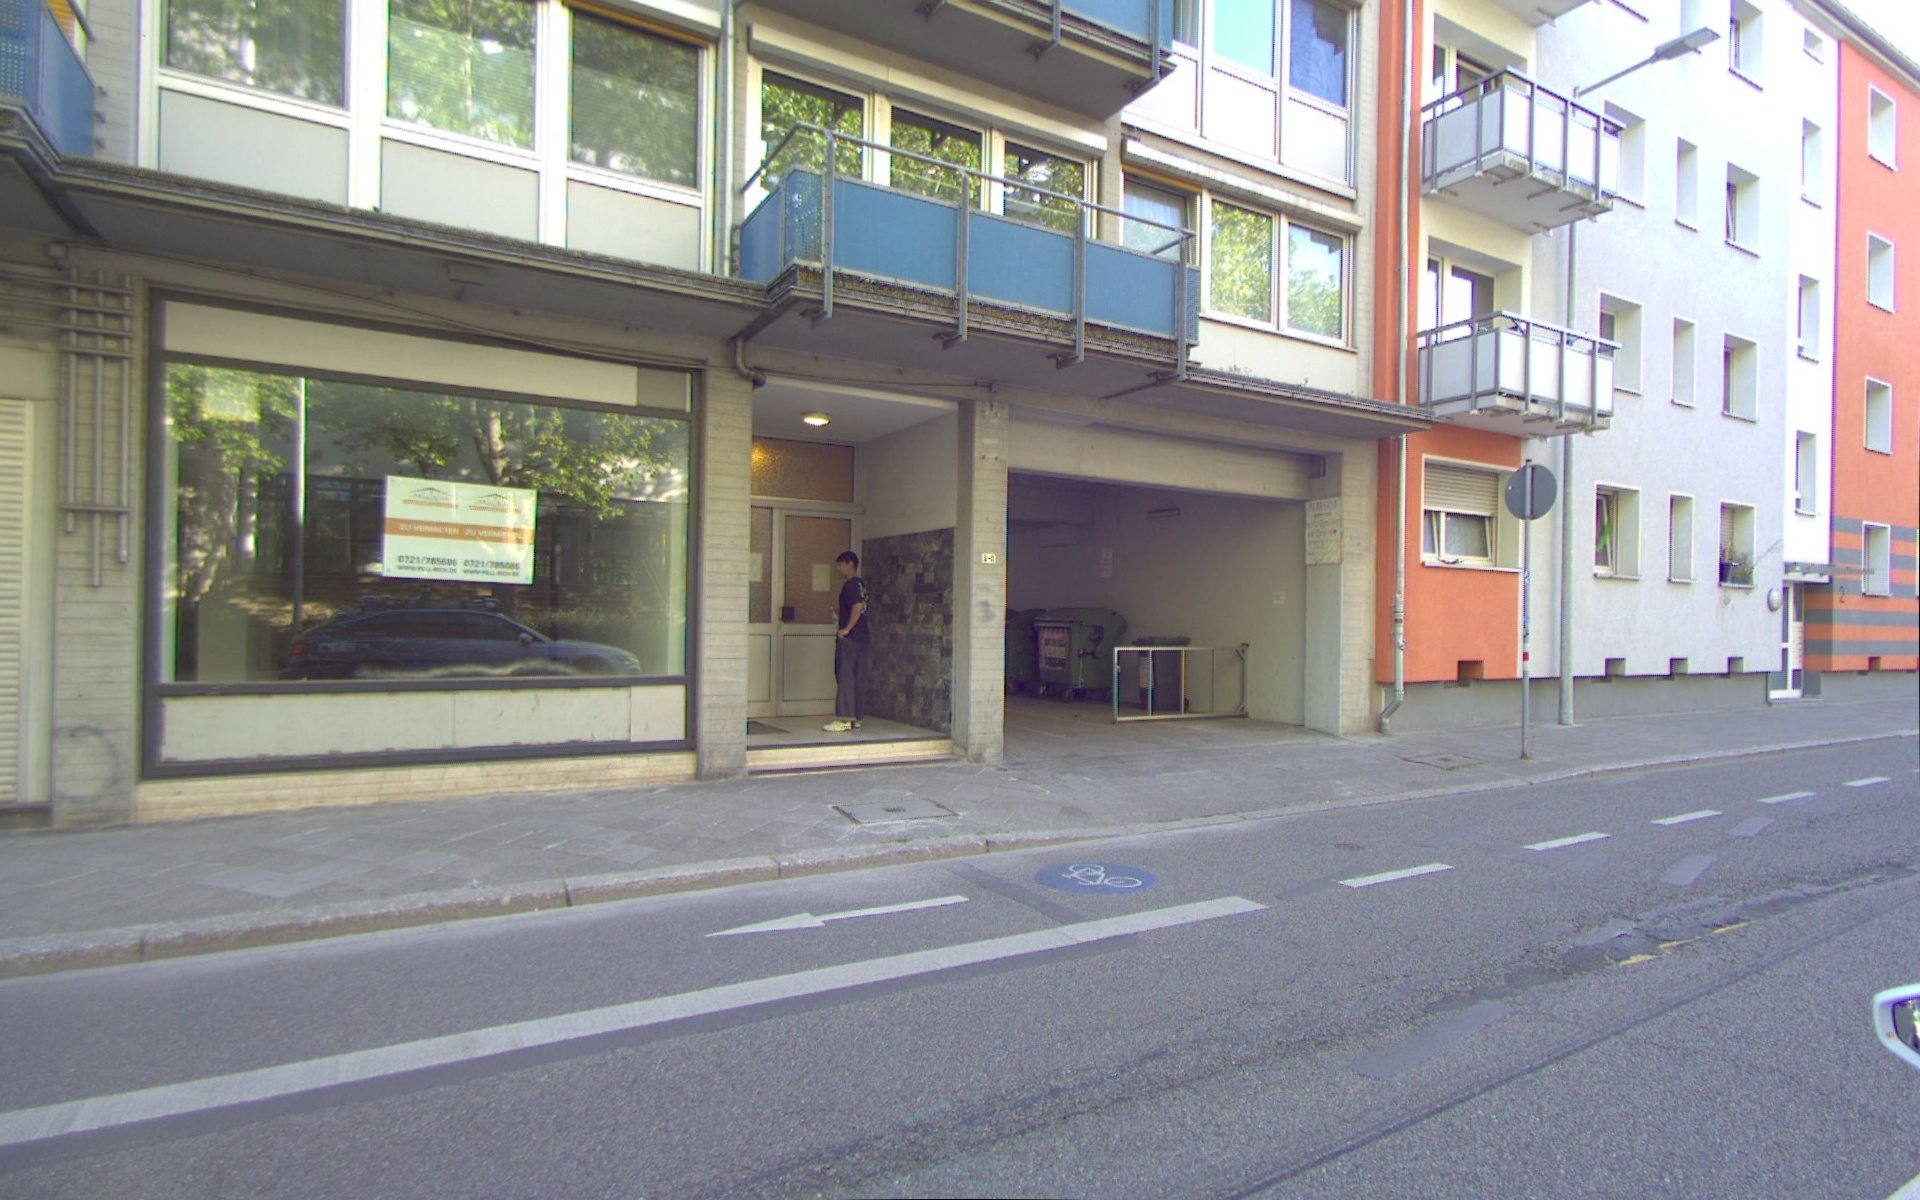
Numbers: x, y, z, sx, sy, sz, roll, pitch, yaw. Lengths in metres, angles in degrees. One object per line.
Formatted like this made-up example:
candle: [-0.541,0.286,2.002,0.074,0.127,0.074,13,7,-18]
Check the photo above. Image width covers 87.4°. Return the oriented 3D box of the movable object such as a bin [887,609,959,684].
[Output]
movable object such as a bin: [-0.727,0.892,19.688,1.012,1.409,1.046,1,0,-31]

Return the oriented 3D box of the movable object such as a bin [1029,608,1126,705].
movable object such as a bin: [1.834,0.861,15.848,1.009,1.438,1.321,1,0,-23]

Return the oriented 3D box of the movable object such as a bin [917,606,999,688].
movable object such as a bin: [-0.049,0.849,18.656,1.011,1.462,1.318,1,0,-29]

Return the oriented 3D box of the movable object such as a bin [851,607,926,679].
movable object such as a bin: [-1.485,0.872,20.665,1.014,1.409,1.264,1,0,-37]

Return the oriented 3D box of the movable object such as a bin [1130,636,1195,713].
movable object such as a bin: [2.903,1.061,14.429,0.704,1.054,0.583,1,0,-30]

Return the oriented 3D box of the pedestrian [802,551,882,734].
pedestrian: [-1.176,0.409,10.079,0.518,1.764,0.630,1,0,27]

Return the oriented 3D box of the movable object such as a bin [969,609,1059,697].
movable object such as a bin: [0.905,0.878,17.172,1.010,1.409,1.319,1,0,-27]
